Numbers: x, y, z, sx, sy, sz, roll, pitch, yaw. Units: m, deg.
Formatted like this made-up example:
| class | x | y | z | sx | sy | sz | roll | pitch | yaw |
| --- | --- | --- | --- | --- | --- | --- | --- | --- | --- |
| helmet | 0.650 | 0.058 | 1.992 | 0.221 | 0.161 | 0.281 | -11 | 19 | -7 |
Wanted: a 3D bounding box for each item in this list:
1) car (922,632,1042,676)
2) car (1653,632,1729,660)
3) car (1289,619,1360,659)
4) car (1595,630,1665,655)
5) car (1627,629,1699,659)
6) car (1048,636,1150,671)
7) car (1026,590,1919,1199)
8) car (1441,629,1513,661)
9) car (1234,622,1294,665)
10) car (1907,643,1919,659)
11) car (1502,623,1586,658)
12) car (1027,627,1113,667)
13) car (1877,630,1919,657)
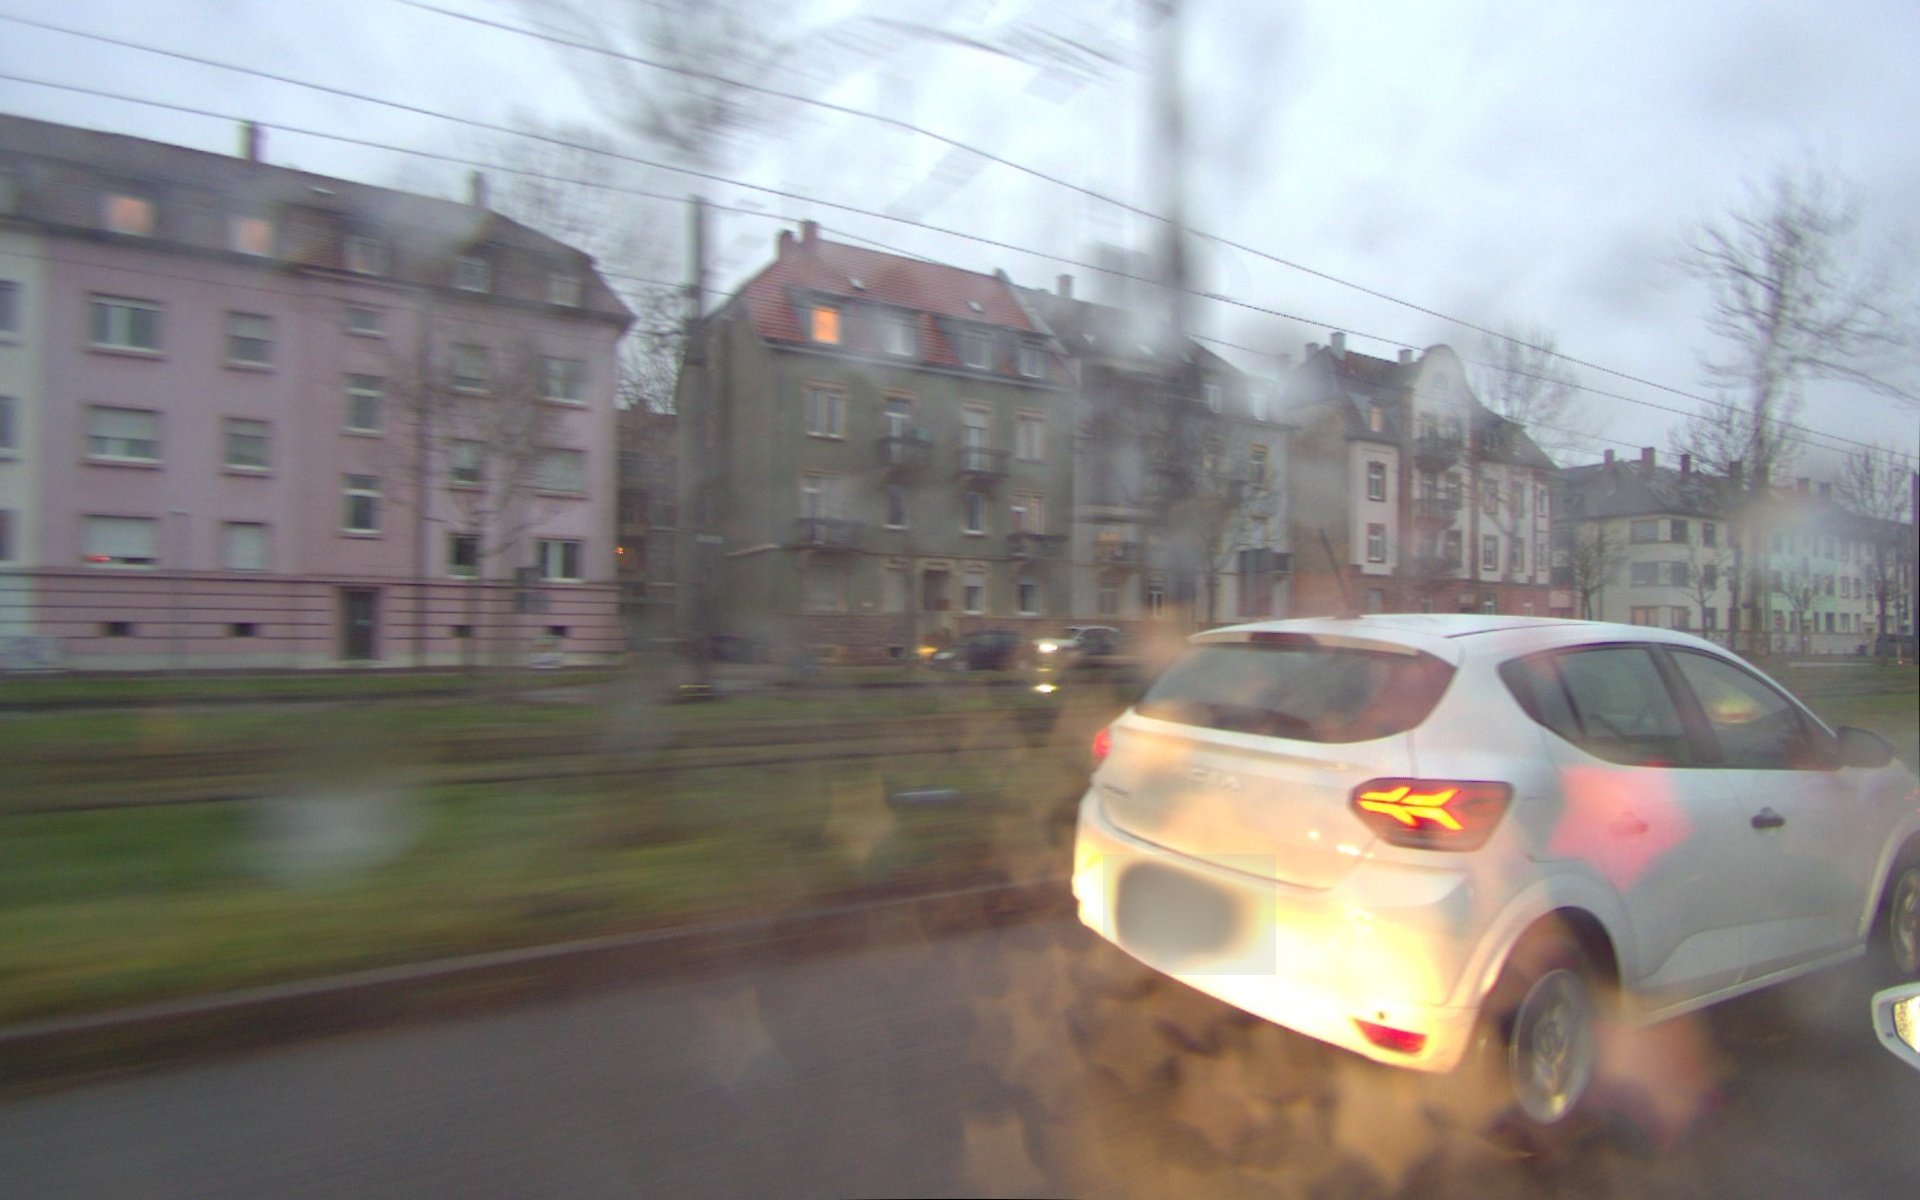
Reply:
| class | x | y | z | sx | sy | sz | roll | pitch | yaw |
| --- | --- | --- | --- | --- | --- | --- | --- | --- | --- |
| car | 0.771 | 1.839 | 34.268 | 3.861 | 1.357 | 1.459 | 2 | 0 | -28 |
| car | 40.393 | 2.493 | 55.598 | 1.677 | 1.176 | 4.107 | 4 | 2 | 9 |
| car | 14.757 | 1.528 | 40.879 | 1.660 | 1.451 | 4.666 | 2 | 0 | 7 |
| car | 34.219 | 2.147 | 51.412 | 1.759 | 1.003 | 2.920 | 4 | 2 | 5 |
| car | 37.364 | 2.329 | 53.508 | 1.321 | 1.247 | 4.046 | 3 | 2 | 7 |
| car | 5.122 | 1.940 | 36.830 | 3.860 | 1.184 | 1.222 | 2 | 0 | -34 |
| car | 2.387 | 0.775 | 4.129 | 3.954 | 1.494 | 1.680 | 2 | 0 | -30 |
| car | 23.815 | 2.058 | 46.419 | 1.796 | 1.274 | 4.269 | 2 | 0 | 11 |
| car | 11.875 | 1.646 | 39.388 | 1.783 | 1.467 | 3.954 | 2 | 0 | 10 |
| car | 71.396 | 3.809 | 73.070 | 1.702 | 1.156 | 3.573 | 2 | 0 | 3 |
| car | 28.021 | 1.930 | 48.306 | 1.842 | 1.437 | 3.361 | 3 | 0 | -4 |
| car | 4.579 | 1.942 | 41.818 | 3.230 | 1.550 | 1.603 | 2 | 0 | -29 |
| car | 68.138 | 3.112 | 71.420 | 1.796 | 1.746 | 4.661 | 2 | 0 | 4 |
